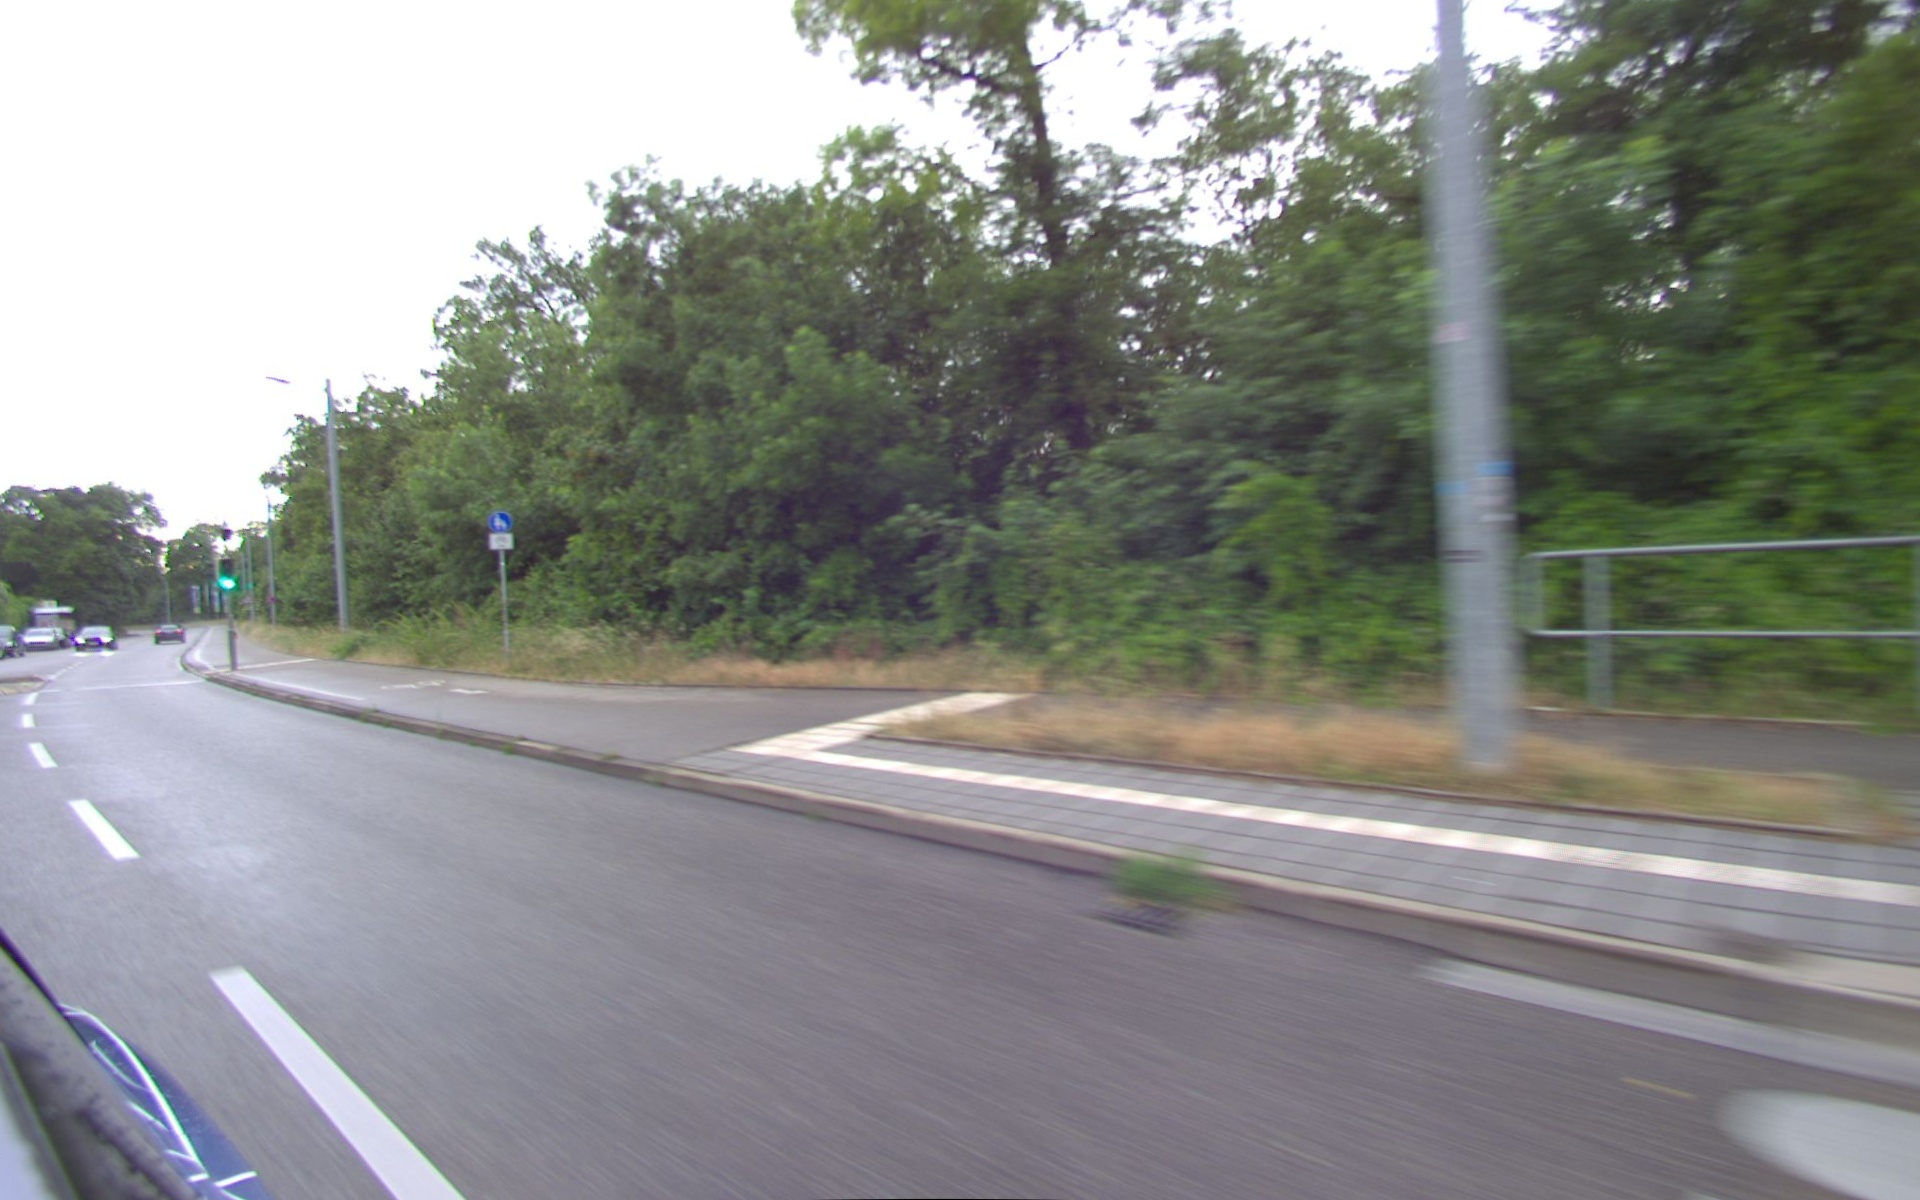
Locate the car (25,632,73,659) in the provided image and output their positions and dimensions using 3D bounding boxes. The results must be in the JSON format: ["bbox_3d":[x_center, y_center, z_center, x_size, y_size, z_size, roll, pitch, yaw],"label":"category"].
[{"bbox_3d":[-61.691,3.038,68.595,1.805,1.559,4.642,-2,1,-34],"label":"car"}]

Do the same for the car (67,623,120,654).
[{"bbox_3d":[-51.881,2.253,60.640,1.967,1.737,4.010,-1,0,-35],"label":"car"}]

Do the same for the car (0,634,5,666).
[{"bbox_3d":[-45.754,2.388,46.776,1.769,1.498,4.505,-2,1,-37],"label":"car"}]

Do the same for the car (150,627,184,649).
[{"bbox_3d":[-57.911,2.767,73.928,1.720,1.471,4.424,-1,0,-35],"label":"car"}]

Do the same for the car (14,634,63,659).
[{"bbox_3d":[-58.954,2.949,64.818,1.789,1.408,4.113,-2,1,-35],"label":"car"}]

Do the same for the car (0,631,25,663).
[{"bbox_3d":[-49.340,2.418,51.731,1.707,1.580,4.532,-1,-1,-36],"label":"car"}]
